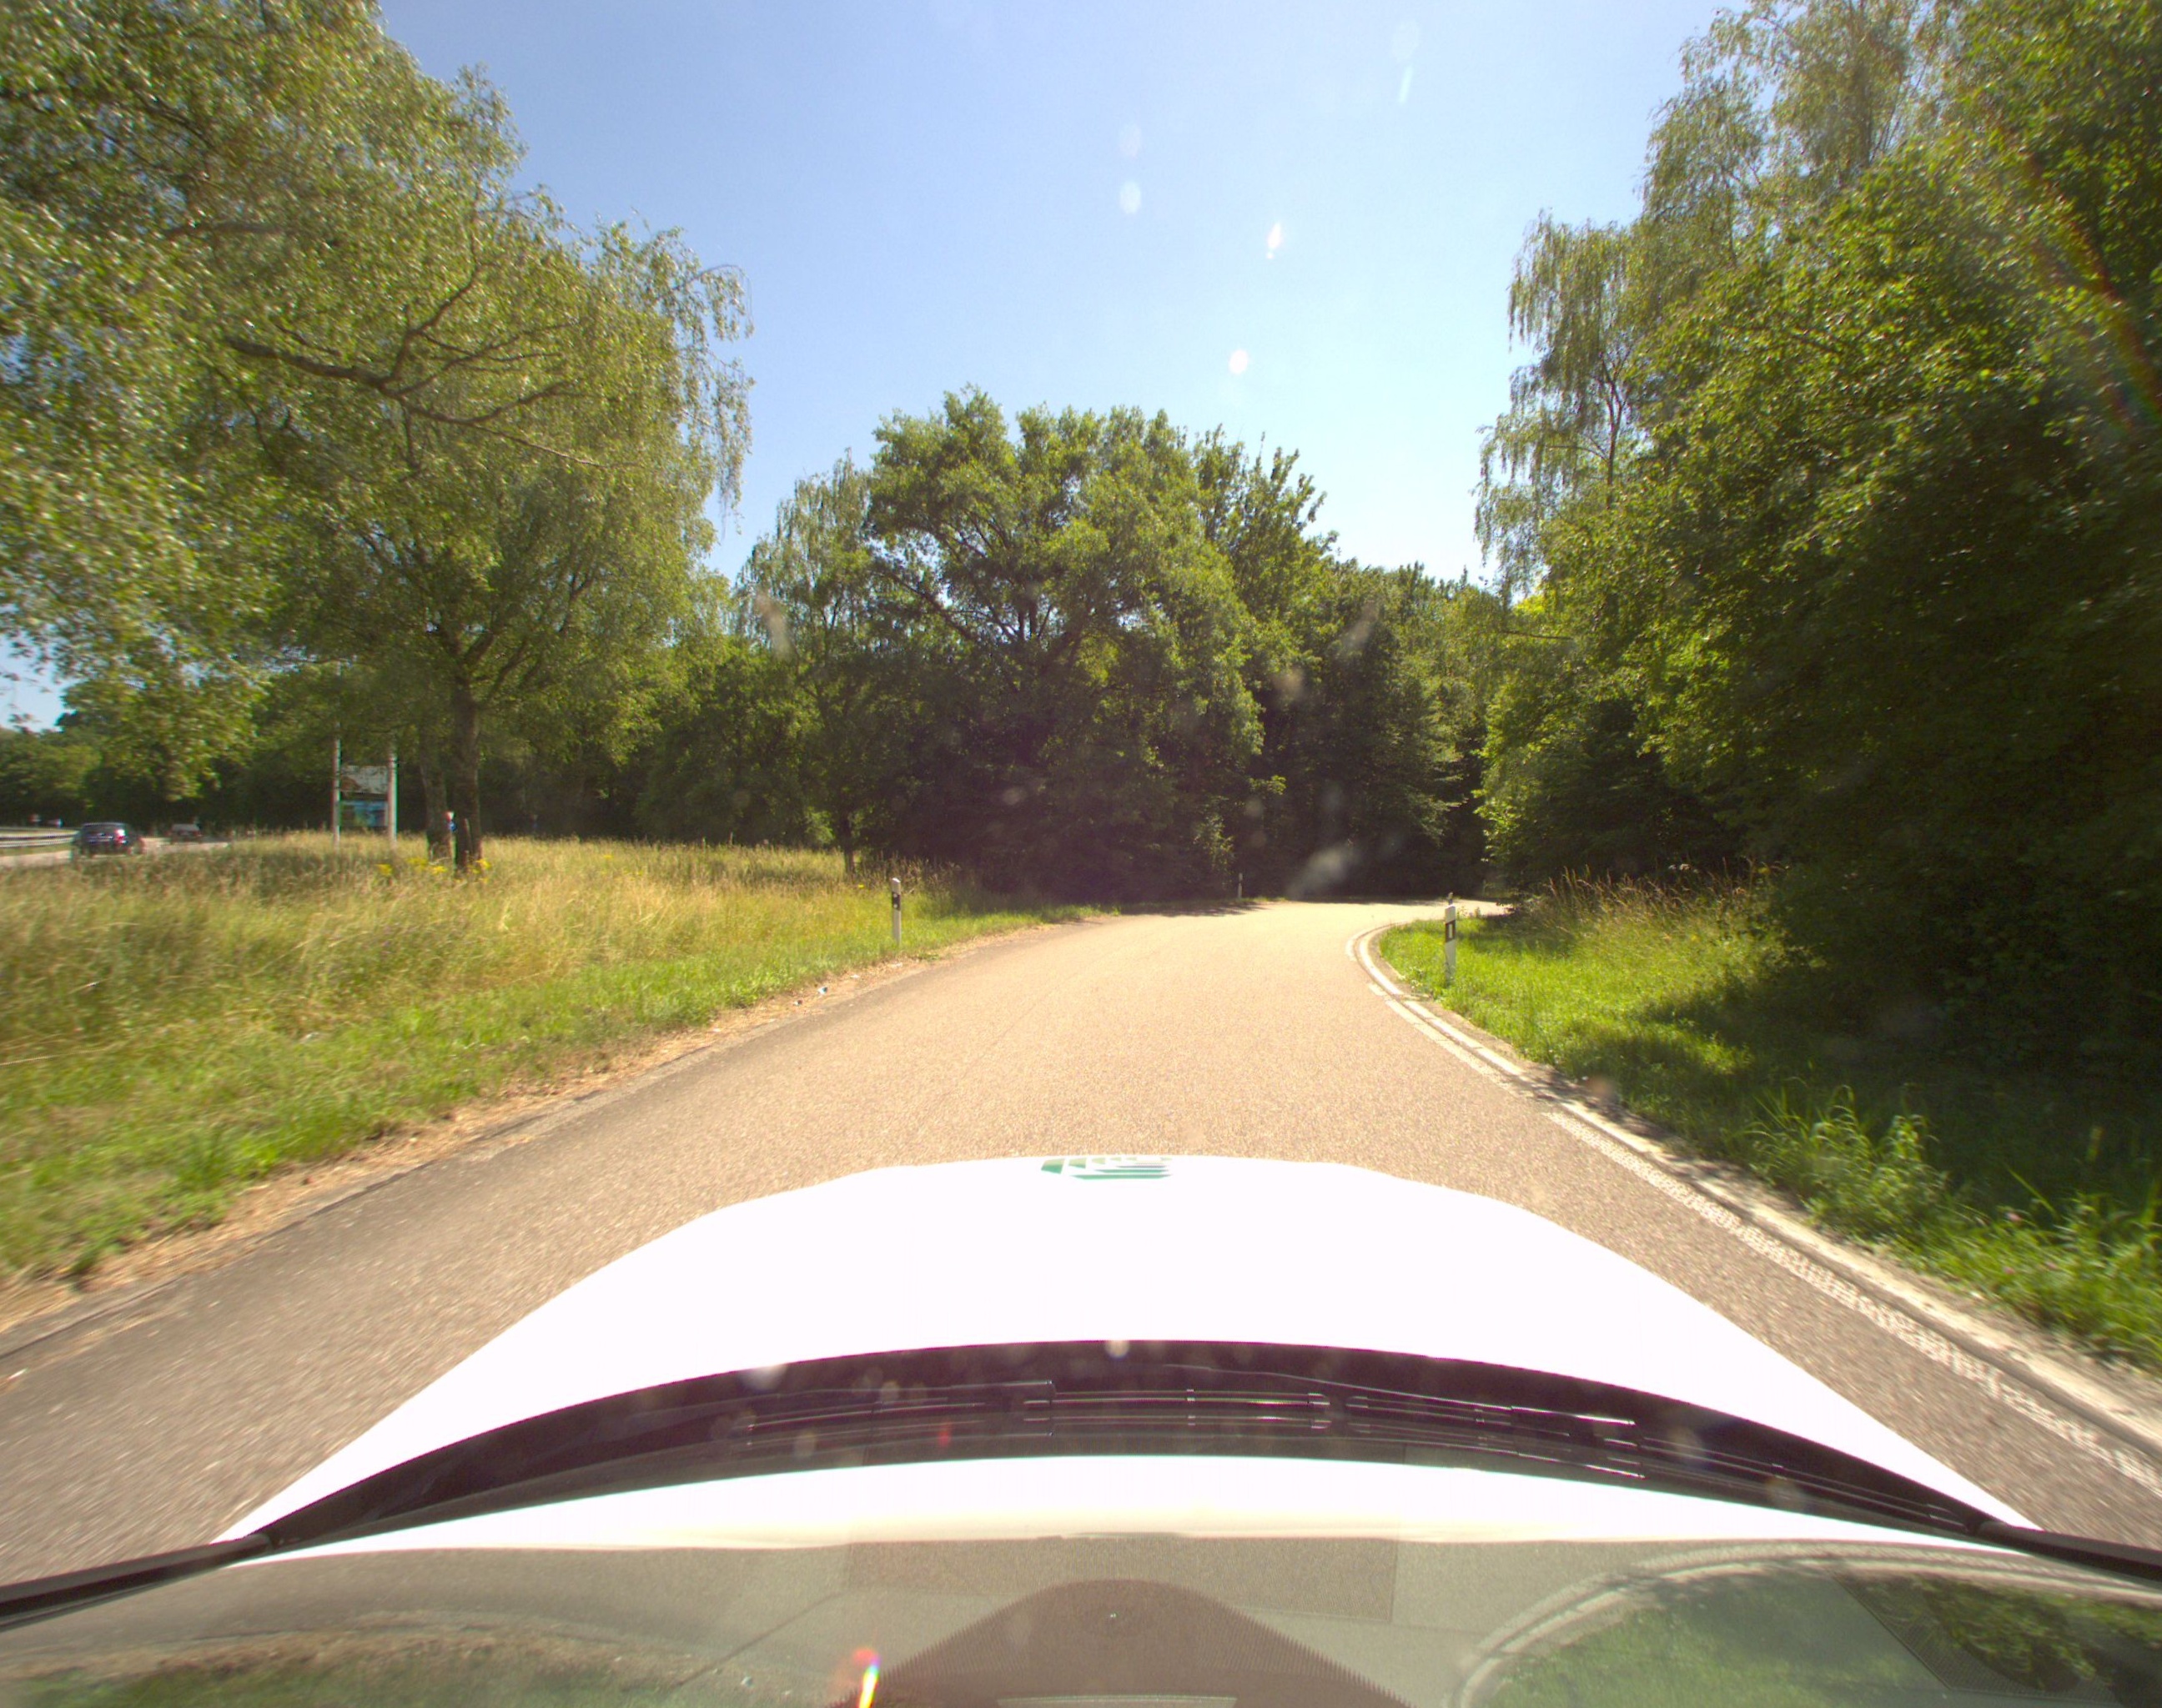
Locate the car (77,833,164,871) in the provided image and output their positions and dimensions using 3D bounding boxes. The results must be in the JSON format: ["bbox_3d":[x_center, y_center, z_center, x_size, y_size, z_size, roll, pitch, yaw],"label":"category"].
[{"bbox_3d":[-41.229,-0.116,35.050,1.525,1.500,3.552,-2,2,-35],"label":"car"}]

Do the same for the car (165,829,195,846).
[{"bbox_3d":[-74.647,-1.366,67.478,3.371,1.313,1.540,0,2,41],"label":"car"}]
